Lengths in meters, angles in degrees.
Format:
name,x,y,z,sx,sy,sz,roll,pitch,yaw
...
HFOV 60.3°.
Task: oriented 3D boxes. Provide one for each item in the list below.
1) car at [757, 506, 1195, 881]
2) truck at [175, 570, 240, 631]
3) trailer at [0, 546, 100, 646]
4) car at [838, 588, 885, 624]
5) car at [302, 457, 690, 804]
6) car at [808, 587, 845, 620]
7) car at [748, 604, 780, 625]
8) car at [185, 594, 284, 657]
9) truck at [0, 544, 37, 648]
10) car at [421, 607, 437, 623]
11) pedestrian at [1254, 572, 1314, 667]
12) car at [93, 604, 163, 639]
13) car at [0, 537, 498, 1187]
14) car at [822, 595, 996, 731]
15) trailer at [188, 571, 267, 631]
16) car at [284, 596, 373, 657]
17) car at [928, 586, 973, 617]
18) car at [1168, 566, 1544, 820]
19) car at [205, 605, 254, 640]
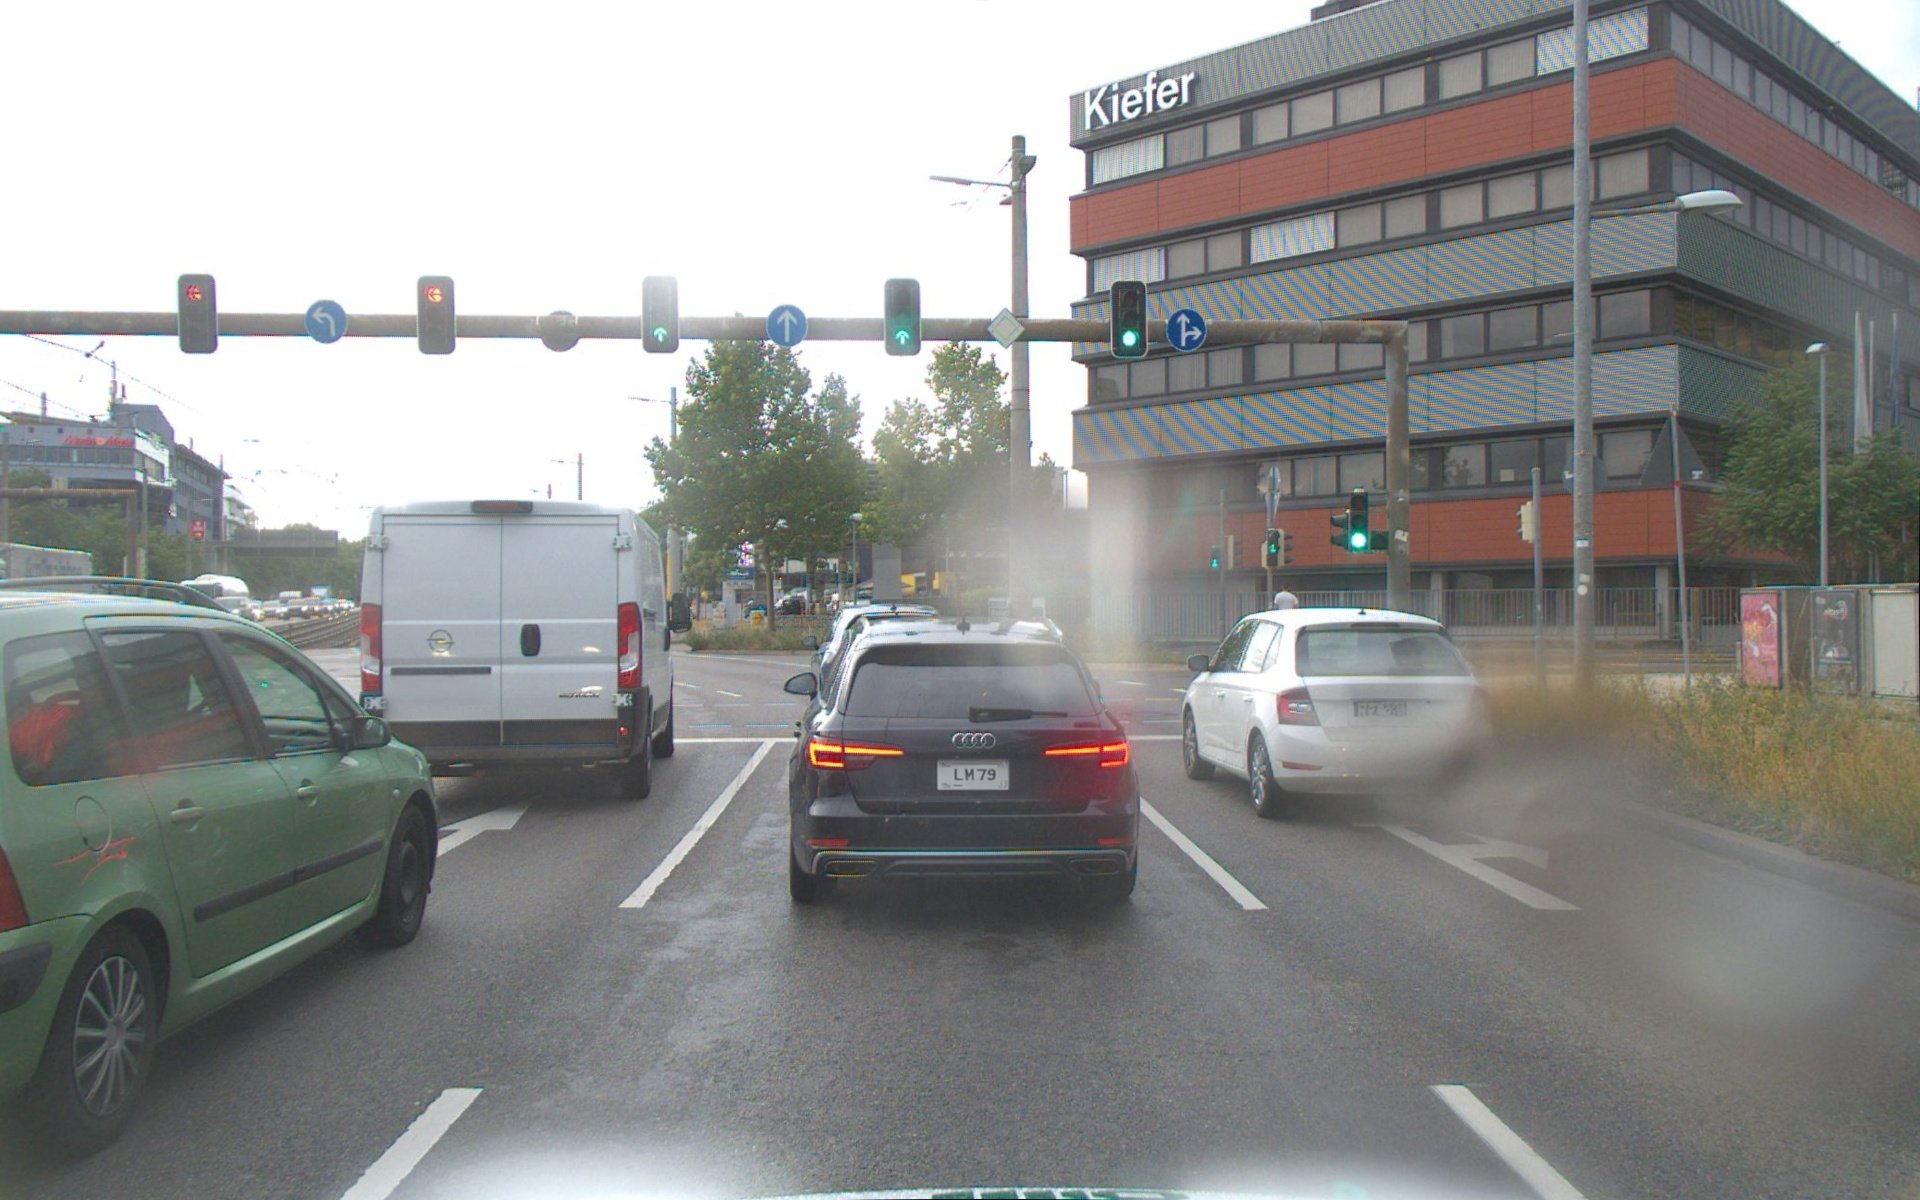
name,x,y,z,sx,sy,sz,roll,pitch,yaw
car,0.047,0.457,9.406,1.953,1.666,3.999,0,-1,-1
truck,-49.930,0.078,109.848,2.698,3.872,5.395,-2,-1,-12
trailer,-42.345,-0.056,75.387,2.605,4.197,12.698,-1,-1,-14
car,-5.986,0.366,100.102,1.962,2.068,3.980,-1,0,-17
car,-3.595,0.269,13.903,2.399,2.334,4.895,2,-1,-8
car,-8.795,0.258,108.903,1.652,2.049,3.525,2,-1,-17
car,-15.577,1.128,131.291,1.764,1.619,3.978,-1,0,-19
car,-25.244,0.847,57.719,1.738,2.049,4.344,2,0,-4
truck,-40.722,-0.122,68.710,2.621,4.202,6.163,0,-1,-14
car,-70.166,1.992,218.687,1.744,2.049,4.328,2,-1,-16
pedestrian,7.638,0.440,39.022,1.120,2.162,1.222,-1,1,-1
car,-39.744,1.033,79.120,1.870,1.582,4.550,2,-1,-13
car,-3.053,0.618,5.768,1.660,1.494,4.402,2,-1,-1
car,-0.721,0.731,20.293,1.857,1.491,3.903,0,-1,-6
trailer,-51.133,0.124,115.780,2.677,3.922,11.195,-1,-1,-12
car,-22.773,0.929,59.785,1.738,2.049,4.344,2,0,-4
car,-0.665,0.122,112.489,1.844,2.049,3.749,2,-1,-22
car,2.905,0.663,13.039,1.793,1.685,3.996,1,-1,-4
car,-45.716,1.387,103.566,1.960,1.869,4.890,3,1,-15
